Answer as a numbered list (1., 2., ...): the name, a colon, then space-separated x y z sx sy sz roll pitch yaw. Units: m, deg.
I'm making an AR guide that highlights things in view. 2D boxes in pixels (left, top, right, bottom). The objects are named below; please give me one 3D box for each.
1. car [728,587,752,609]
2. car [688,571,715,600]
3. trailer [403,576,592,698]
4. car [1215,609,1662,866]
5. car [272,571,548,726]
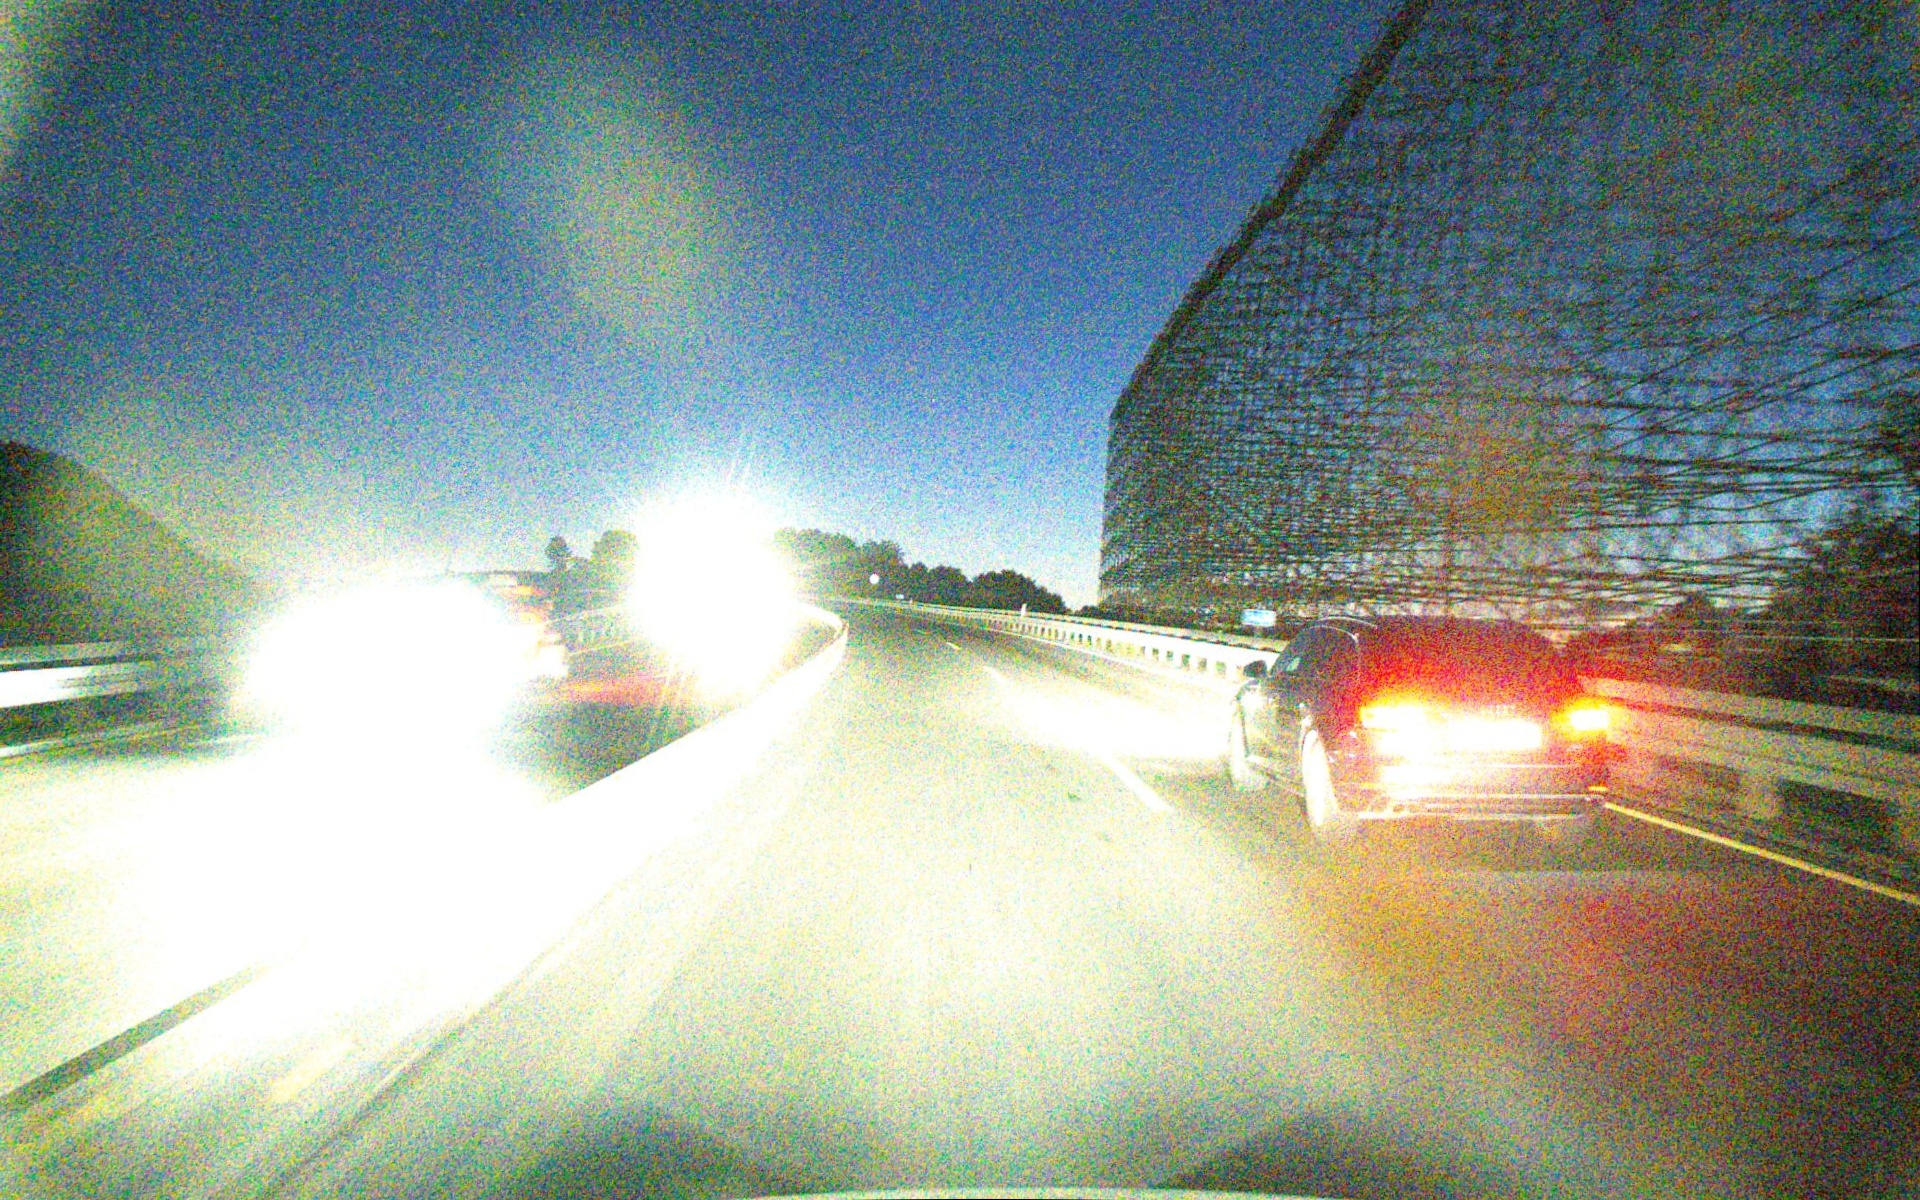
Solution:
1. car: -15.514 -0.134 116.448 1.653 1.484 4.192 0 0 -9
2. car: -29.724 -1.631 190.099 2.443 3.160 7.359 0 -1 -13
3. trailer: -6.721 0.533 24.412 1.973 1.668 3.415 0 -1 -3
4. car: 3.145 0.807 12.000 1.771 1.451 4.873 0 0 -1
5. car: -6.534 0.555 20.279 1.973 1.668 4.859 0 -1 -3
